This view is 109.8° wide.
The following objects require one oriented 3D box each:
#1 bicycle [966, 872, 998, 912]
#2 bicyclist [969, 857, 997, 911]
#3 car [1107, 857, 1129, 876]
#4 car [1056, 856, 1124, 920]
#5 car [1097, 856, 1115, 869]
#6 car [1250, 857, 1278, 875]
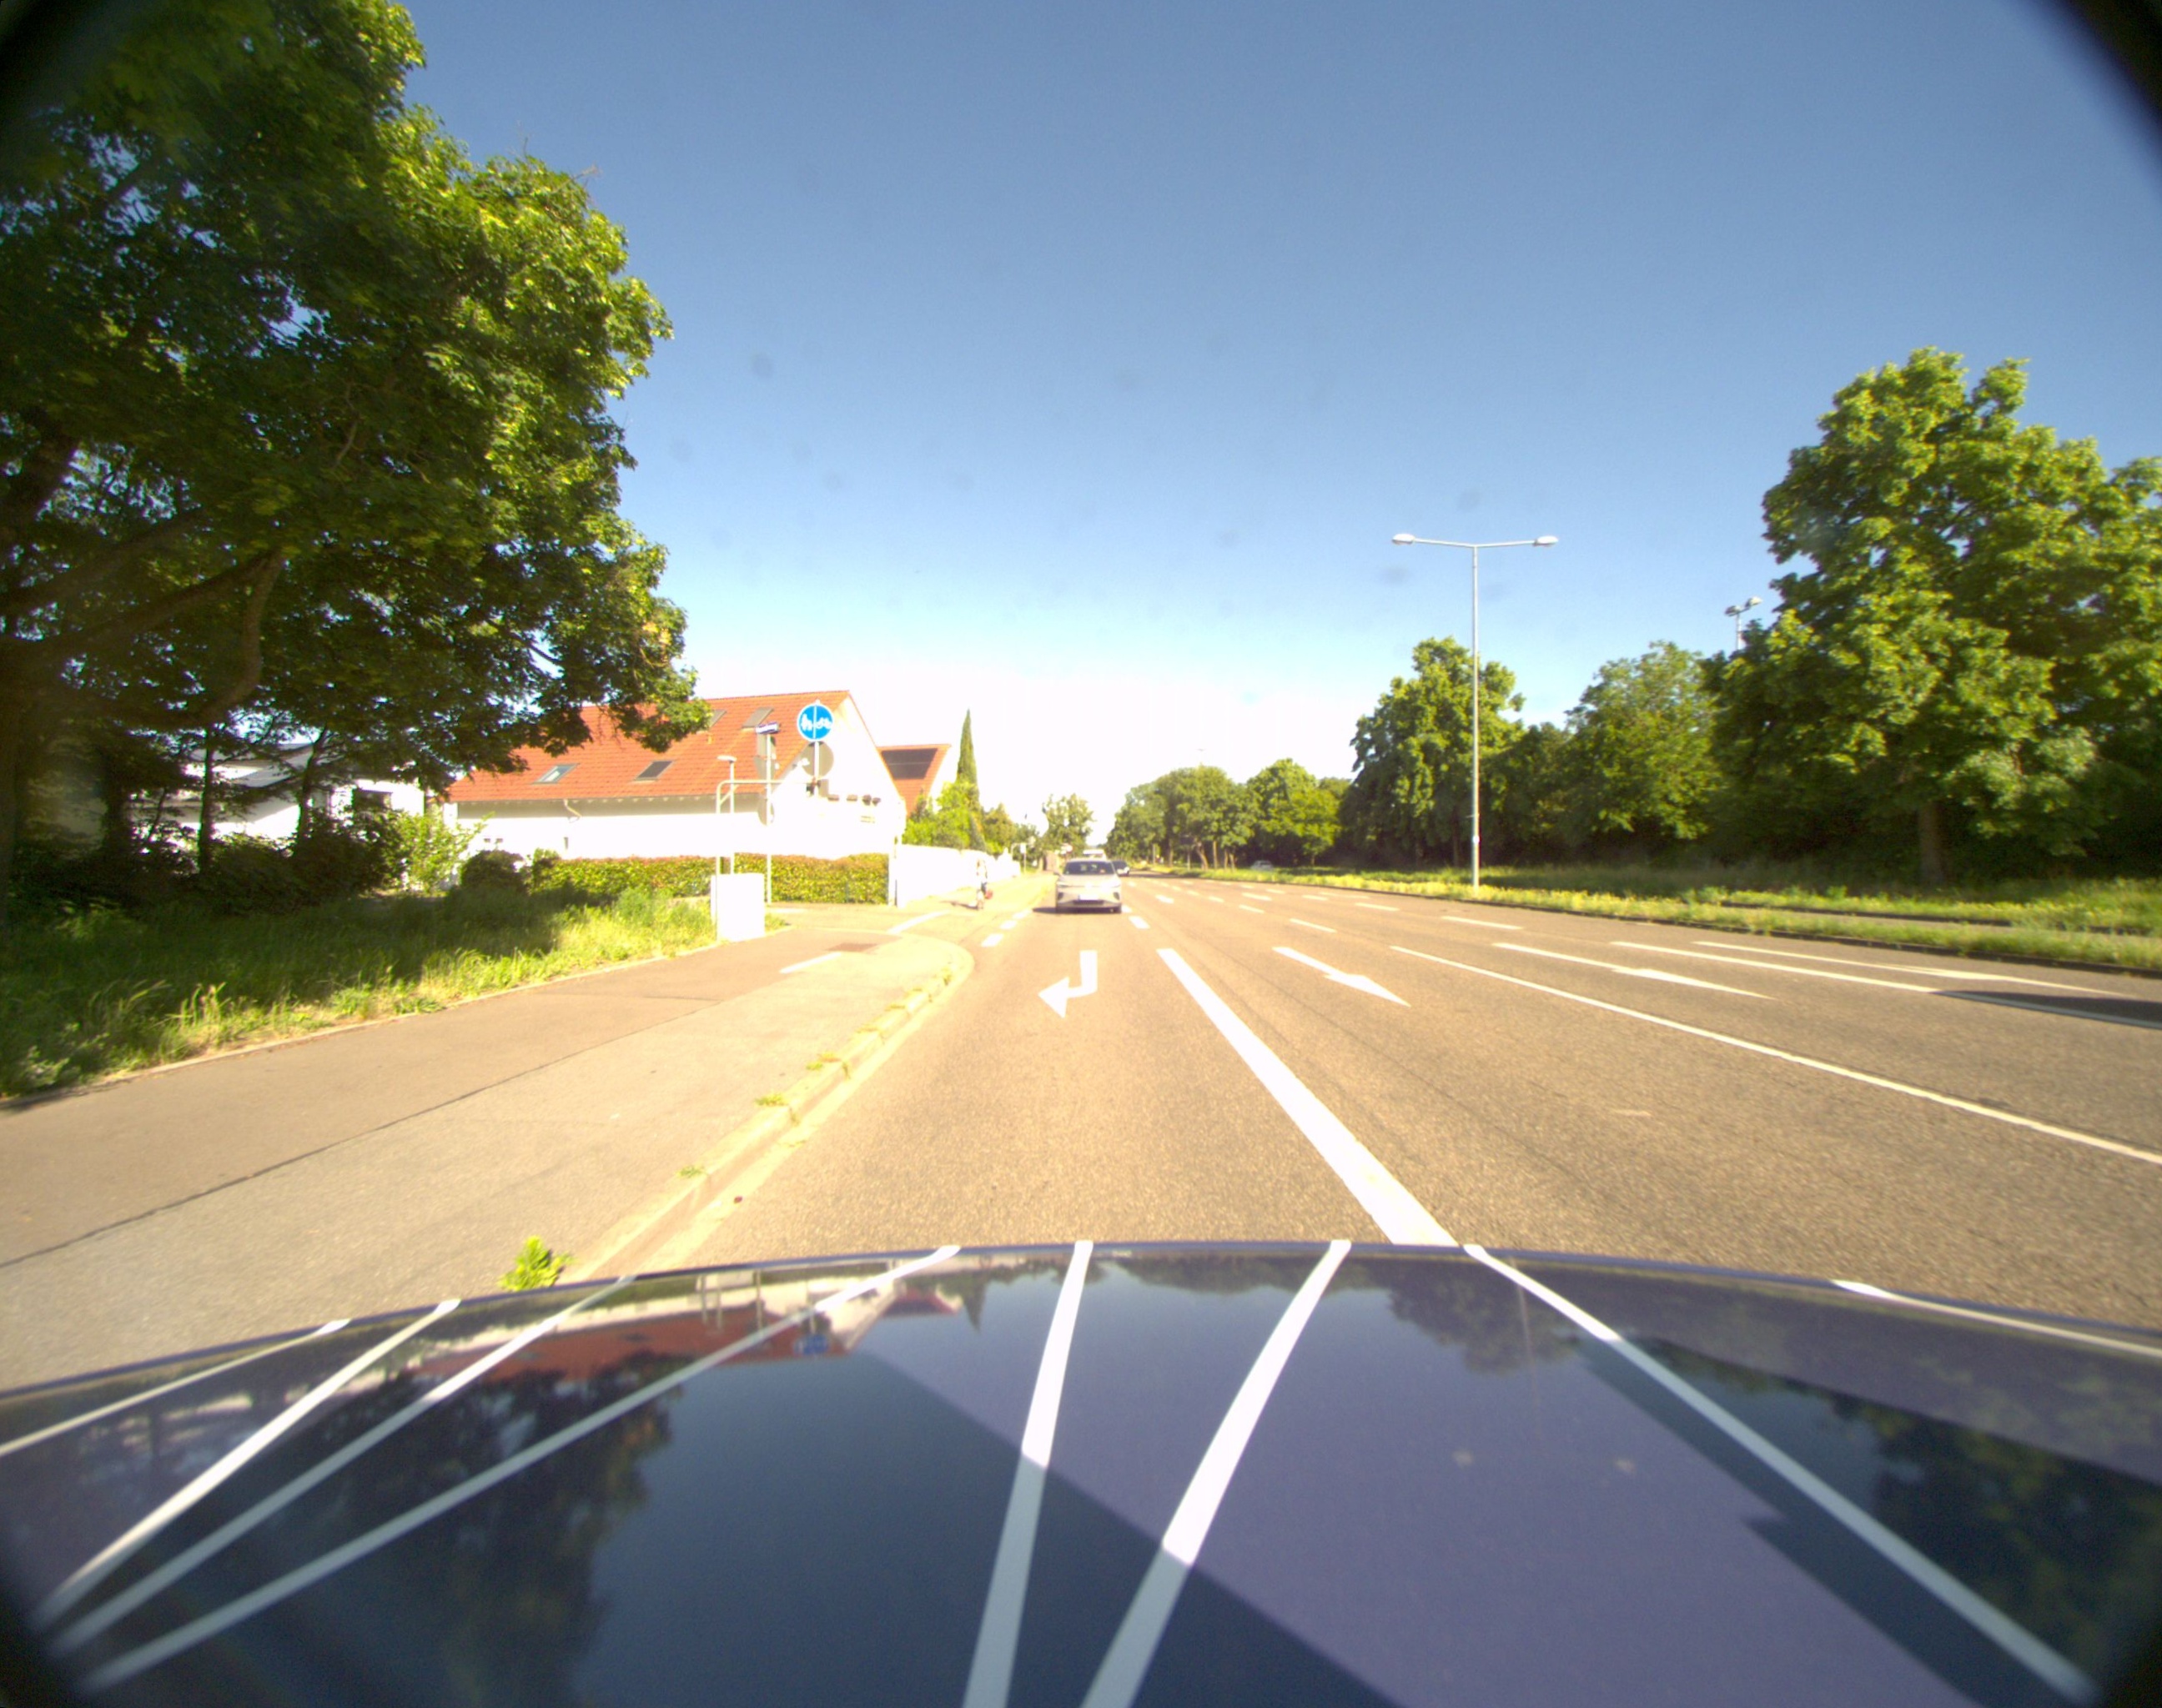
[{"bbox_3d":[-3.072,1.174,23.797,0.575,1.148,2.141,3,0,3],"label":"bicycle"},{"bbox_3d":[-3.057,0.931,23.857,0.631,1.623,0.982,3,0,3],"label":"bicyclist"},{"bbox_3d":[3.372,1.081,69.340,1.766,1.606,4.297,-2,0,1],"label":"car"},{"bbox_3d":[0.265,0.926,22.727,1.766,1.606,4.297,-3,0,0],"label":"car"},{"bbox_3d":[3.098,1.047,95.205,1.856,1.576,3.998,-2,0,-3],"label":"car"},{"bbox_3d":[19.244,1.248,80.269,1.917,1.693,4.407,-2,1,1],"label":"car"}]
